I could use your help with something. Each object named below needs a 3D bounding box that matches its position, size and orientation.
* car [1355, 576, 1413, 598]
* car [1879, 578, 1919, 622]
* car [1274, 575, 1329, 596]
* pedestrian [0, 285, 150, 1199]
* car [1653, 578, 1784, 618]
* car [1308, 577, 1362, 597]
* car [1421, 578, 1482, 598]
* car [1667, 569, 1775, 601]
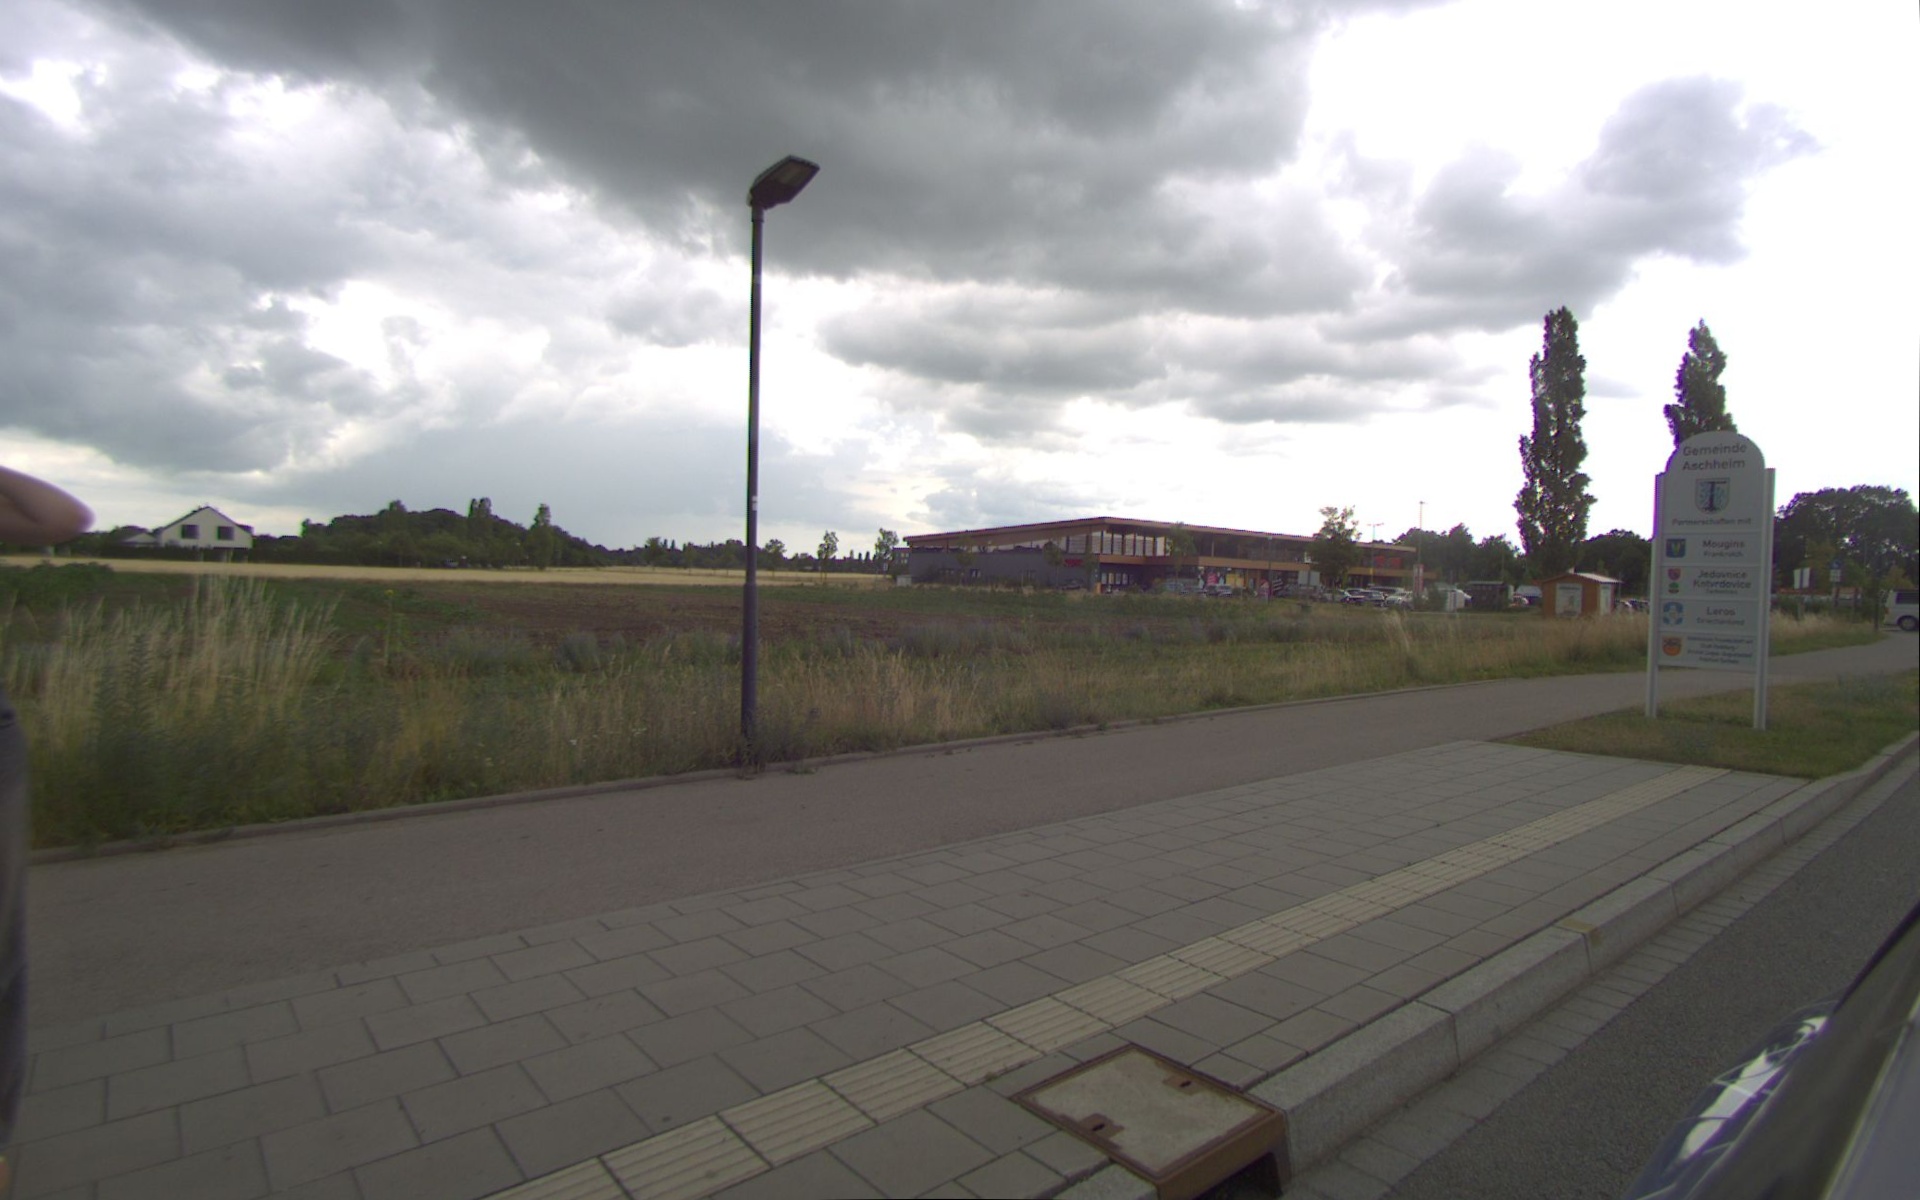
[{"bbox_3d":[41.177,-1.274,98.422,4.840,2.039,1.970,0,1,43],"label":"car"},{"bbox_3d":[46.312,-0.004,46.840,2.516,2.039,5.312,-1,1,-39],"label":"car"},{"bbox_3d":[34.098,-1.462,101.132,4.840,2.039,1.970,0,1,43],"label":"car"},{"bbox_3d":[-2.177,0.318,2.087,0.765,1.815,0.783,0,0,-38],"label":"pedestrian"},{"bbox_3d":[40.744,-0.137,54.487,1.964,2.039,5.312,-1,1,-39],"label":"car"},{"bbox_3d":[39.075,-1.344,105.519,4.840,2.039,1.970,0,1,43],"label":"car"},{"bbox_3d":[52.375,-1.247,107.857,5.510,2.039,1.969,0,1,44],"label":"car"},{"bbox_3d":[50.044,-0.960,66.646,5.510,2.039,1.969,0,1,44],"label":"car"}]
